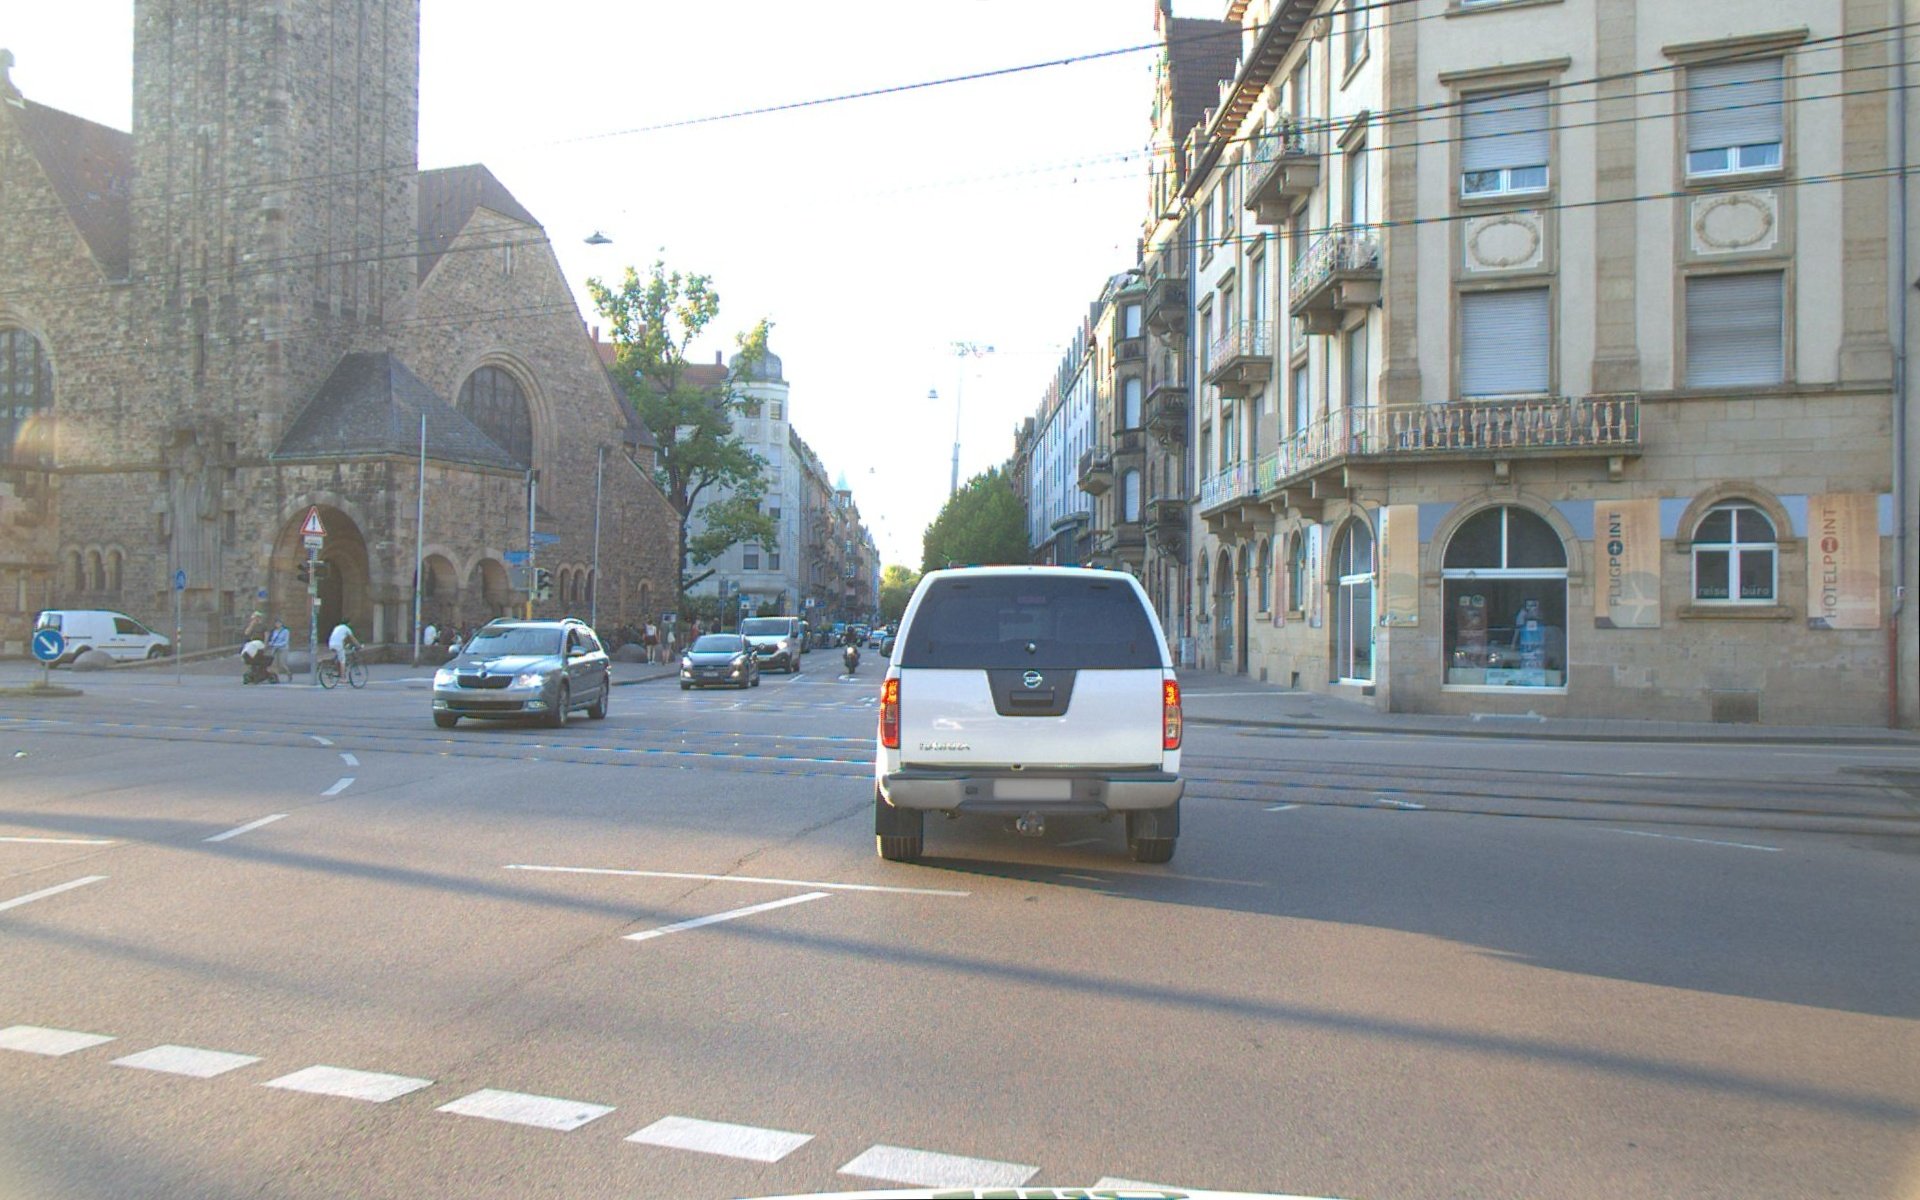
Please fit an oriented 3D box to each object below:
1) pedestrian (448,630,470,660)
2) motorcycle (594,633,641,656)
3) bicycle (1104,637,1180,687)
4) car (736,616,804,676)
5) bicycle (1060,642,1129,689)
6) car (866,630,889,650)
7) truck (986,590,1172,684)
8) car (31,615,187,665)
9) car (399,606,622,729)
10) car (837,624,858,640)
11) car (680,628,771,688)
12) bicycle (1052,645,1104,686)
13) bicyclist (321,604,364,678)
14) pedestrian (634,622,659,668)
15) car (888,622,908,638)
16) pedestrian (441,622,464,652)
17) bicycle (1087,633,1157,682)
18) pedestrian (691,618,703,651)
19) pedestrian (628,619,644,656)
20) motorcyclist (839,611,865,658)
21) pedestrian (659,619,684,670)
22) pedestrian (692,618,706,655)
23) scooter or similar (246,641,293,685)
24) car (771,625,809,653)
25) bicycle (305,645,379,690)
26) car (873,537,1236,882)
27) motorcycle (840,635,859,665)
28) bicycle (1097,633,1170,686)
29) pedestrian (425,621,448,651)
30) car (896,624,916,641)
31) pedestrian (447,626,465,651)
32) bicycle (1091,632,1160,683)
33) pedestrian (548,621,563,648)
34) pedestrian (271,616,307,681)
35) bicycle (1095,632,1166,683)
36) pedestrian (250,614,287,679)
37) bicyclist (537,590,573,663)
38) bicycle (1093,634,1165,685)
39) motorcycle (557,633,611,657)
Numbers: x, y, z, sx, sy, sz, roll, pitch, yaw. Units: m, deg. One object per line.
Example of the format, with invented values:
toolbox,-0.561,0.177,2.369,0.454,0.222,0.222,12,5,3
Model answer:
pedestrian,-16.808,1.511,55.483,0.469,0.977,0.522,0,-2,30
motorcycle,-15.661,2.054,75.617,2.120,1.005,0.594,1,-2,20
bicycle,4.603,1.561,41.811,1.781,1.170,0.636,-3,-1,-2
car,-6.685,1.614,58.654,1.953,2.049,4.948,0,-1,-1
bicycle,3.434,1.677,42.274,1.692,1.102,0.317,-3,-1,-2
car,-6.819,3.321,136.803,1.821,1.556,3.997,1,-1,-3
truck,3.551,1.088,48.384,5.628,2.610,2.251,2,-2,-44
car,-27.791,1.329,54.194,1.679,1.543,4.453,0,-2,24
car,-6.408,0.915,24.176,1.953,1.585,4.768,-1,-1,0
car,-11.126,3.165,164.070,1.821,1.556,3.999,1,-1,-1
car,-6.301,1.541,44.846,1.953,1.503,4.138,0,-1,-1
bicycle,3.160,1.754,44.414,1.306,1.042,0.317,-3,-1,-2
bicyclist,-15.768,1.042,42.220,0.642,1.859,0.860,1,-1,10
pedestrian,-11.994,1.721,63.277,0.796,1.699,0.859,1,-2,-2
car,-6.249,3.048,166.443,1.882,1.556,3.997,1,-1,-3
pedestrian,-16.680,1.205,54.319,0.511,0.977,0.479,1,-2,19
bicycle,4.433,1.571,45.325,1.818,1.259,0.530,-3,-1,-2
pedestrian,-13.708,1.796,86.279,0.549,1.725,0.643,1,-2,-8
pedestrian,-15.108,1.752,77.136,0.631,1.725,0.561,1,-2,-9
motorcyclist,-3.894,1.250,59.630,0.857,1.673,0.963,1,-2,-1
pedestrian,-11.031,1.689,63.304,0.796,1.934,0.666,1,-2,-2
pedestrian,-13.464,1.866,85.438,0.632,1.888,0.560,2,-2,-14
scooter or similar,-18.162,1.655,43.494,0.620,1.123,1.079,1,-2,11
car,-10.035,2.322,97.955,1.821,1.556,3.999,1,-1,-1
bicycle,-15.756,1.704,42.237,0.642,1.097,2.246,1,-1,12
car,0.525,0.646,11.070,1.953,1.841,3.999,1,-1,0
motorcycle,-3.968,1.790,59.588,0.587,1.062,1.945,1,-1,-1
bicycle,4.483,1.537,42.752,1.781,1.259,0.488,-3,-1,-2
pedestrian,-17.290,1.199,54.595,0.511,0.977,0.479,1,-2,19
car,-5.071,3.101,156.131,1.821,1.556,3.999,1,-1,-1
pedestrian,-19.646,1.492,64.504,0.541,0.977,0.708,1,-2,-6
bicycle,4.475,1.556,44.794,1.781,1.259,0.410,-3,-1,-2
pedestrian,-14.659,1.240,59.961,0.513,0.977,0.477,2,-2,-16
pedestrian,-17.992,1.303,44.332,0.620,1.728,0.603,1,-2,11
bicycle,4.545,1.543,44.189,1.781,1.259,0.412,-3,-1,-2
pedestrian,-18.595,1.252,44.481,0.620,1.728,0.603,1,-2,11
bicyclist,-9.397,0.623,38.388,0.587,1.673,0.963,1,-2,-1
bicycle,4.445,1.558,43.463,1.781,1.259,0.477,-3,-1,-2
motorcycle,-16.666,1.977,73.331,2.200,1.005,0.707,1,-2,-6
